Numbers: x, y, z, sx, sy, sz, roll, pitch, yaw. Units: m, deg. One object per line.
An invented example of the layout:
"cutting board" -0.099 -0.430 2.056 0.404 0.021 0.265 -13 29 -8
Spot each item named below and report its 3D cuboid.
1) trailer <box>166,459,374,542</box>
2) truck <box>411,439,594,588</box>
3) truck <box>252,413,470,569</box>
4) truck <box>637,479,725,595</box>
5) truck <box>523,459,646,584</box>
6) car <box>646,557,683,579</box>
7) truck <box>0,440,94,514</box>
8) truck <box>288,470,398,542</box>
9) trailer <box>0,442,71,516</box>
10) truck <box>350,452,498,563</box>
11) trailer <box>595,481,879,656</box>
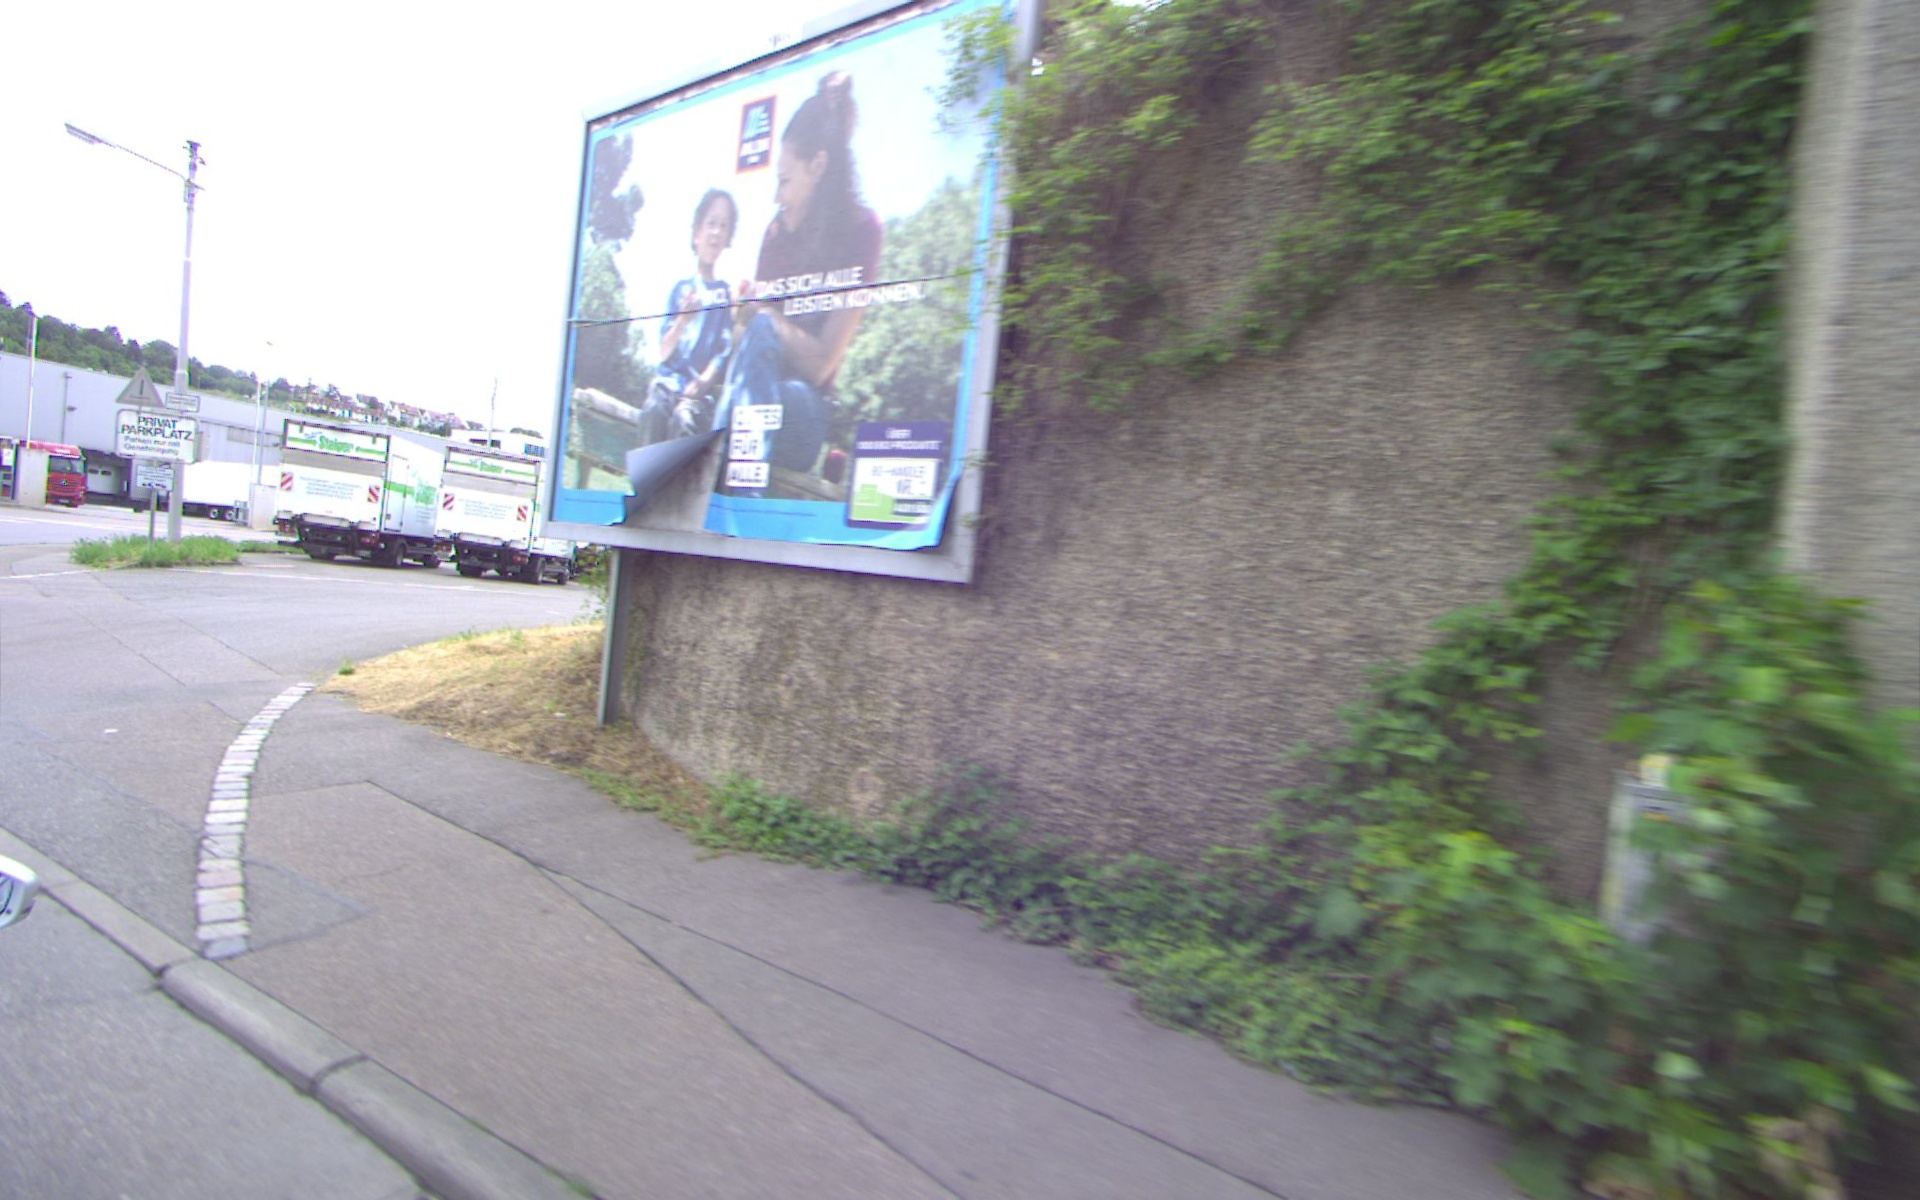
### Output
"trailer" -48.381 -6.970 70.584 13.750 4.237 3.036 6 1 11
"truck" -14.256 -2.481 32.245 3.023 3.675 8.585 8 0 -11
"truck" -17.700 -2.958 30.544 3.023 3.677 8.579 6 0 -14
"truck" -13.043 -2.777 47.765 3.022 4.596 9.760 6 0 -12
"truck" -15.703 -3.073 42.774 3.021 4.405 8.765 6 0 -11
"car" -26.719 -2.862 90.963 1.962 1.773 3.997 6 2 1
"truck" -57.309 -7.666 62.471 5.817 3.979 2.800 6 1 23
"truck" -42.464 -6.388 69.429 5.523 4.072 2.923 6 1 -12
"trailer" -62.059 -7.975 64.551 10.794 4.130 2.790 6 1 22
"truck" -21.730 -3.554 41.399 3.023 3.677 8.579 6 0 -14
"trailer" -3.774 -0.540 16.832 4.339 2.428 1.807 7 1 29
